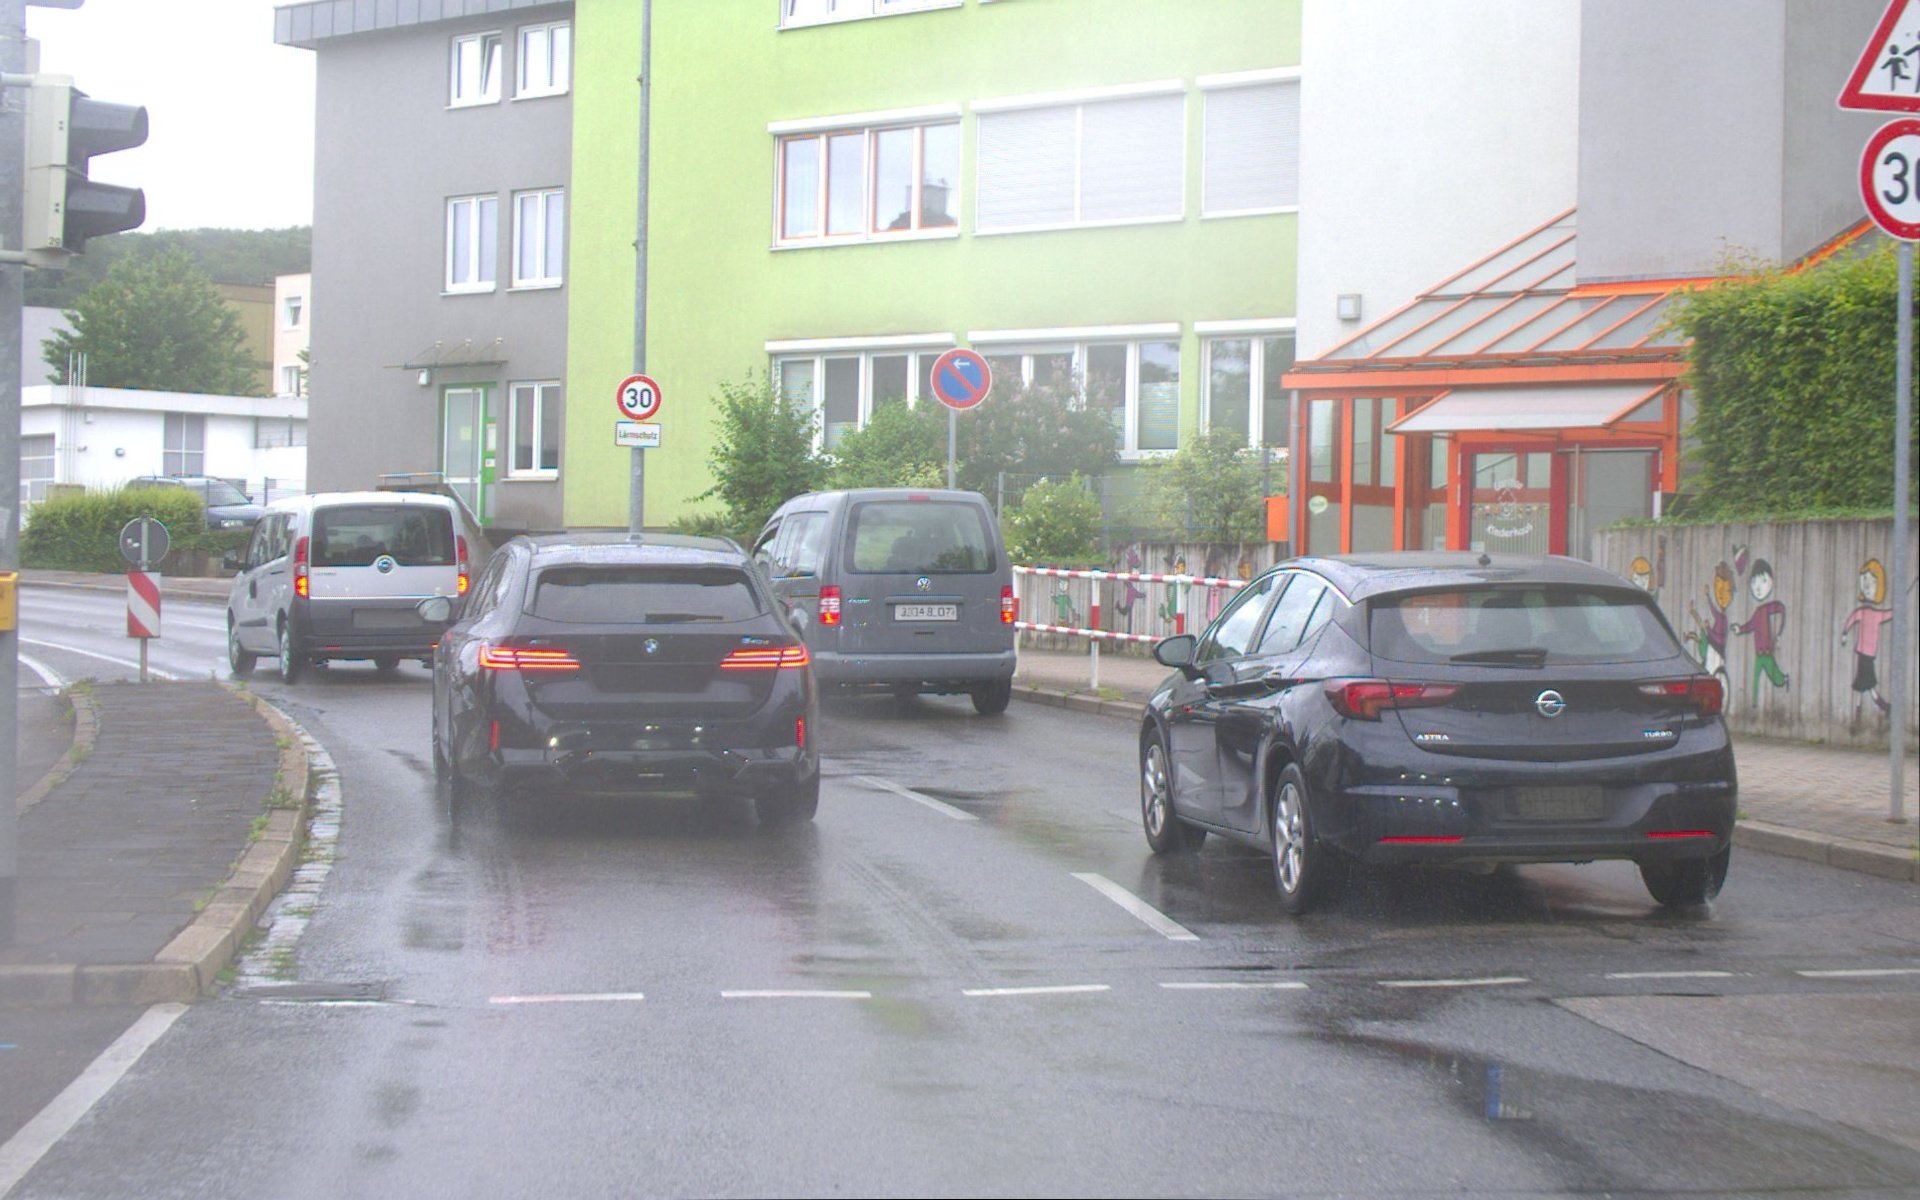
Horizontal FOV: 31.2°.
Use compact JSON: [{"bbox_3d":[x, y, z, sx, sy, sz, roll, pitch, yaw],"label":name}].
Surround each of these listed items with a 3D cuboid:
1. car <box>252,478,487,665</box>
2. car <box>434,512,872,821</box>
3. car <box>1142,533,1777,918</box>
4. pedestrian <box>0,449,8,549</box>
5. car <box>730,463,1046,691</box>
[{"bbox_3d":[-5.952,-0.263,34.332,1.993,1.732,4.001,1,0,-14],"label":"car"},{"bbox_3d":[-1.774,0.330,18.581,1.993,1.479,4.001,1,0,-10],"label":"car"},{"bbox_3d":[2.002,0.454,14.986,1.756,1.444,4.001,1,1,-7],"label":"car"},{"bbox_3d":[-19.696,-2.047,69.587,0.612,2.007,0.718,1,0,2],"label":"pedestrian"},{"bbox_3d":[-0.680,-0.172,28.762,1.838,1.761,4.001,1,0,-13],"label":"car"}]
